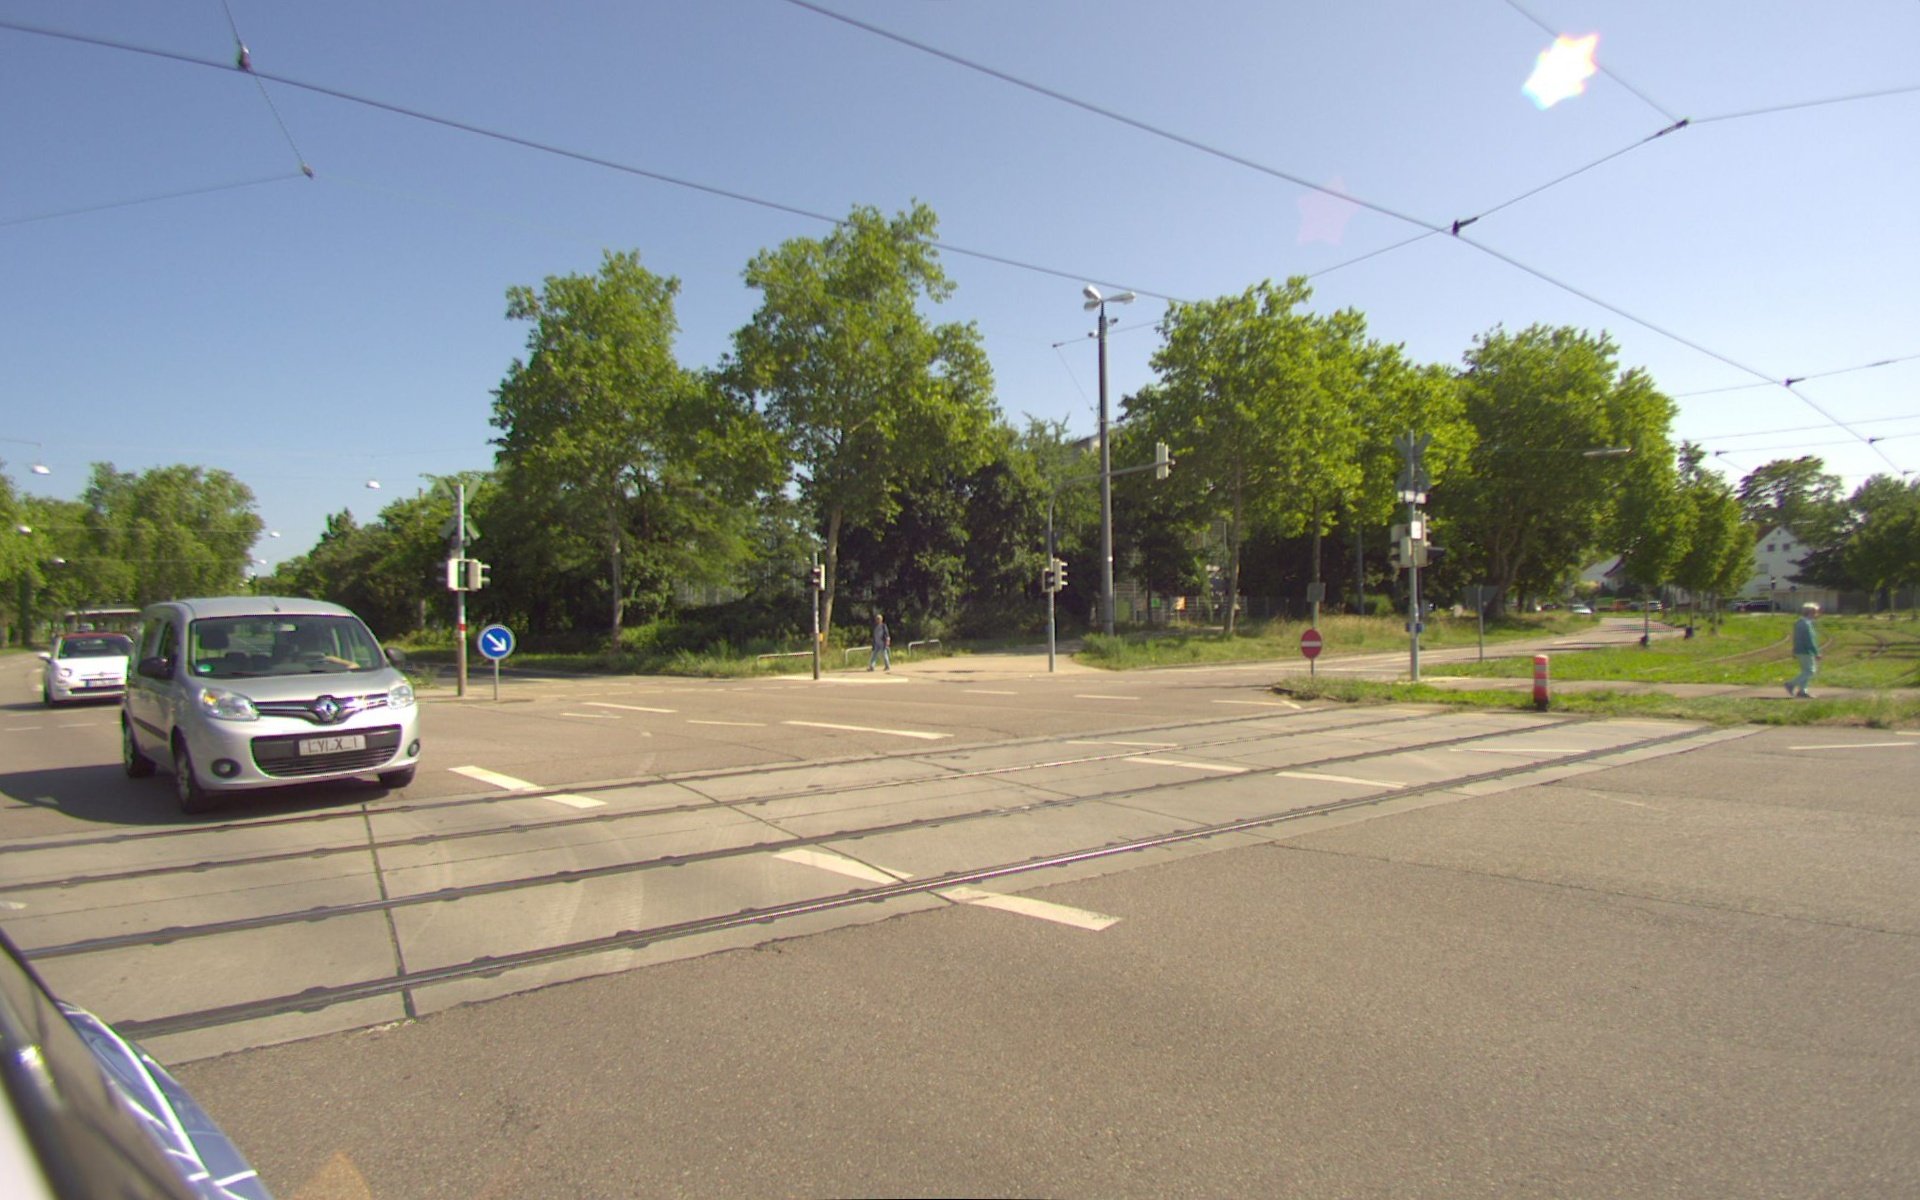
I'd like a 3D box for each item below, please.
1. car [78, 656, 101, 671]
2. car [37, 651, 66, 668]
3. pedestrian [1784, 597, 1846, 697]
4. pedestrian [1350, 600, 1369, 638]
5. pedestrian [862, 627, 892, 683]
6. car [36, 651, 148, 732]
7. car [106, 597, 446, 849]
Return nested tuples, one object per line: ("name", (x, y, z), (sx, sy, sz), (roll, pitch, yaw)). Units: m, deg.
("car", (-126.397, 9.148, 146.934), (1.966, 2.029, 4.011), (0, -2, -32))
("car", (-119.719, 7.821, 133.428), (1.966, 2.029, 4.012), (-1, -2, -29))
("pedestrian", (13.699, 0.748, 16.212), (0.361, 1.573, 0.669), (0, -2, -44))
("pedestrian", (22.333, 1.047, 56.566), (0.754, 2.107, 0.611), (-2, -2, 38))
("pedestrian", (-2.335, 1.533, 28.379), (0.568, 1.546, 0.599), (-3, -2, 39))
("car", (-18.712, 1.875, 21.741), (1.665, 1.502, 4.380), (0, -2, -43))
("car", (-6.726, 0.960, 9.737), (4.377, 1.854, 1.851), (-2, -1, 44))
